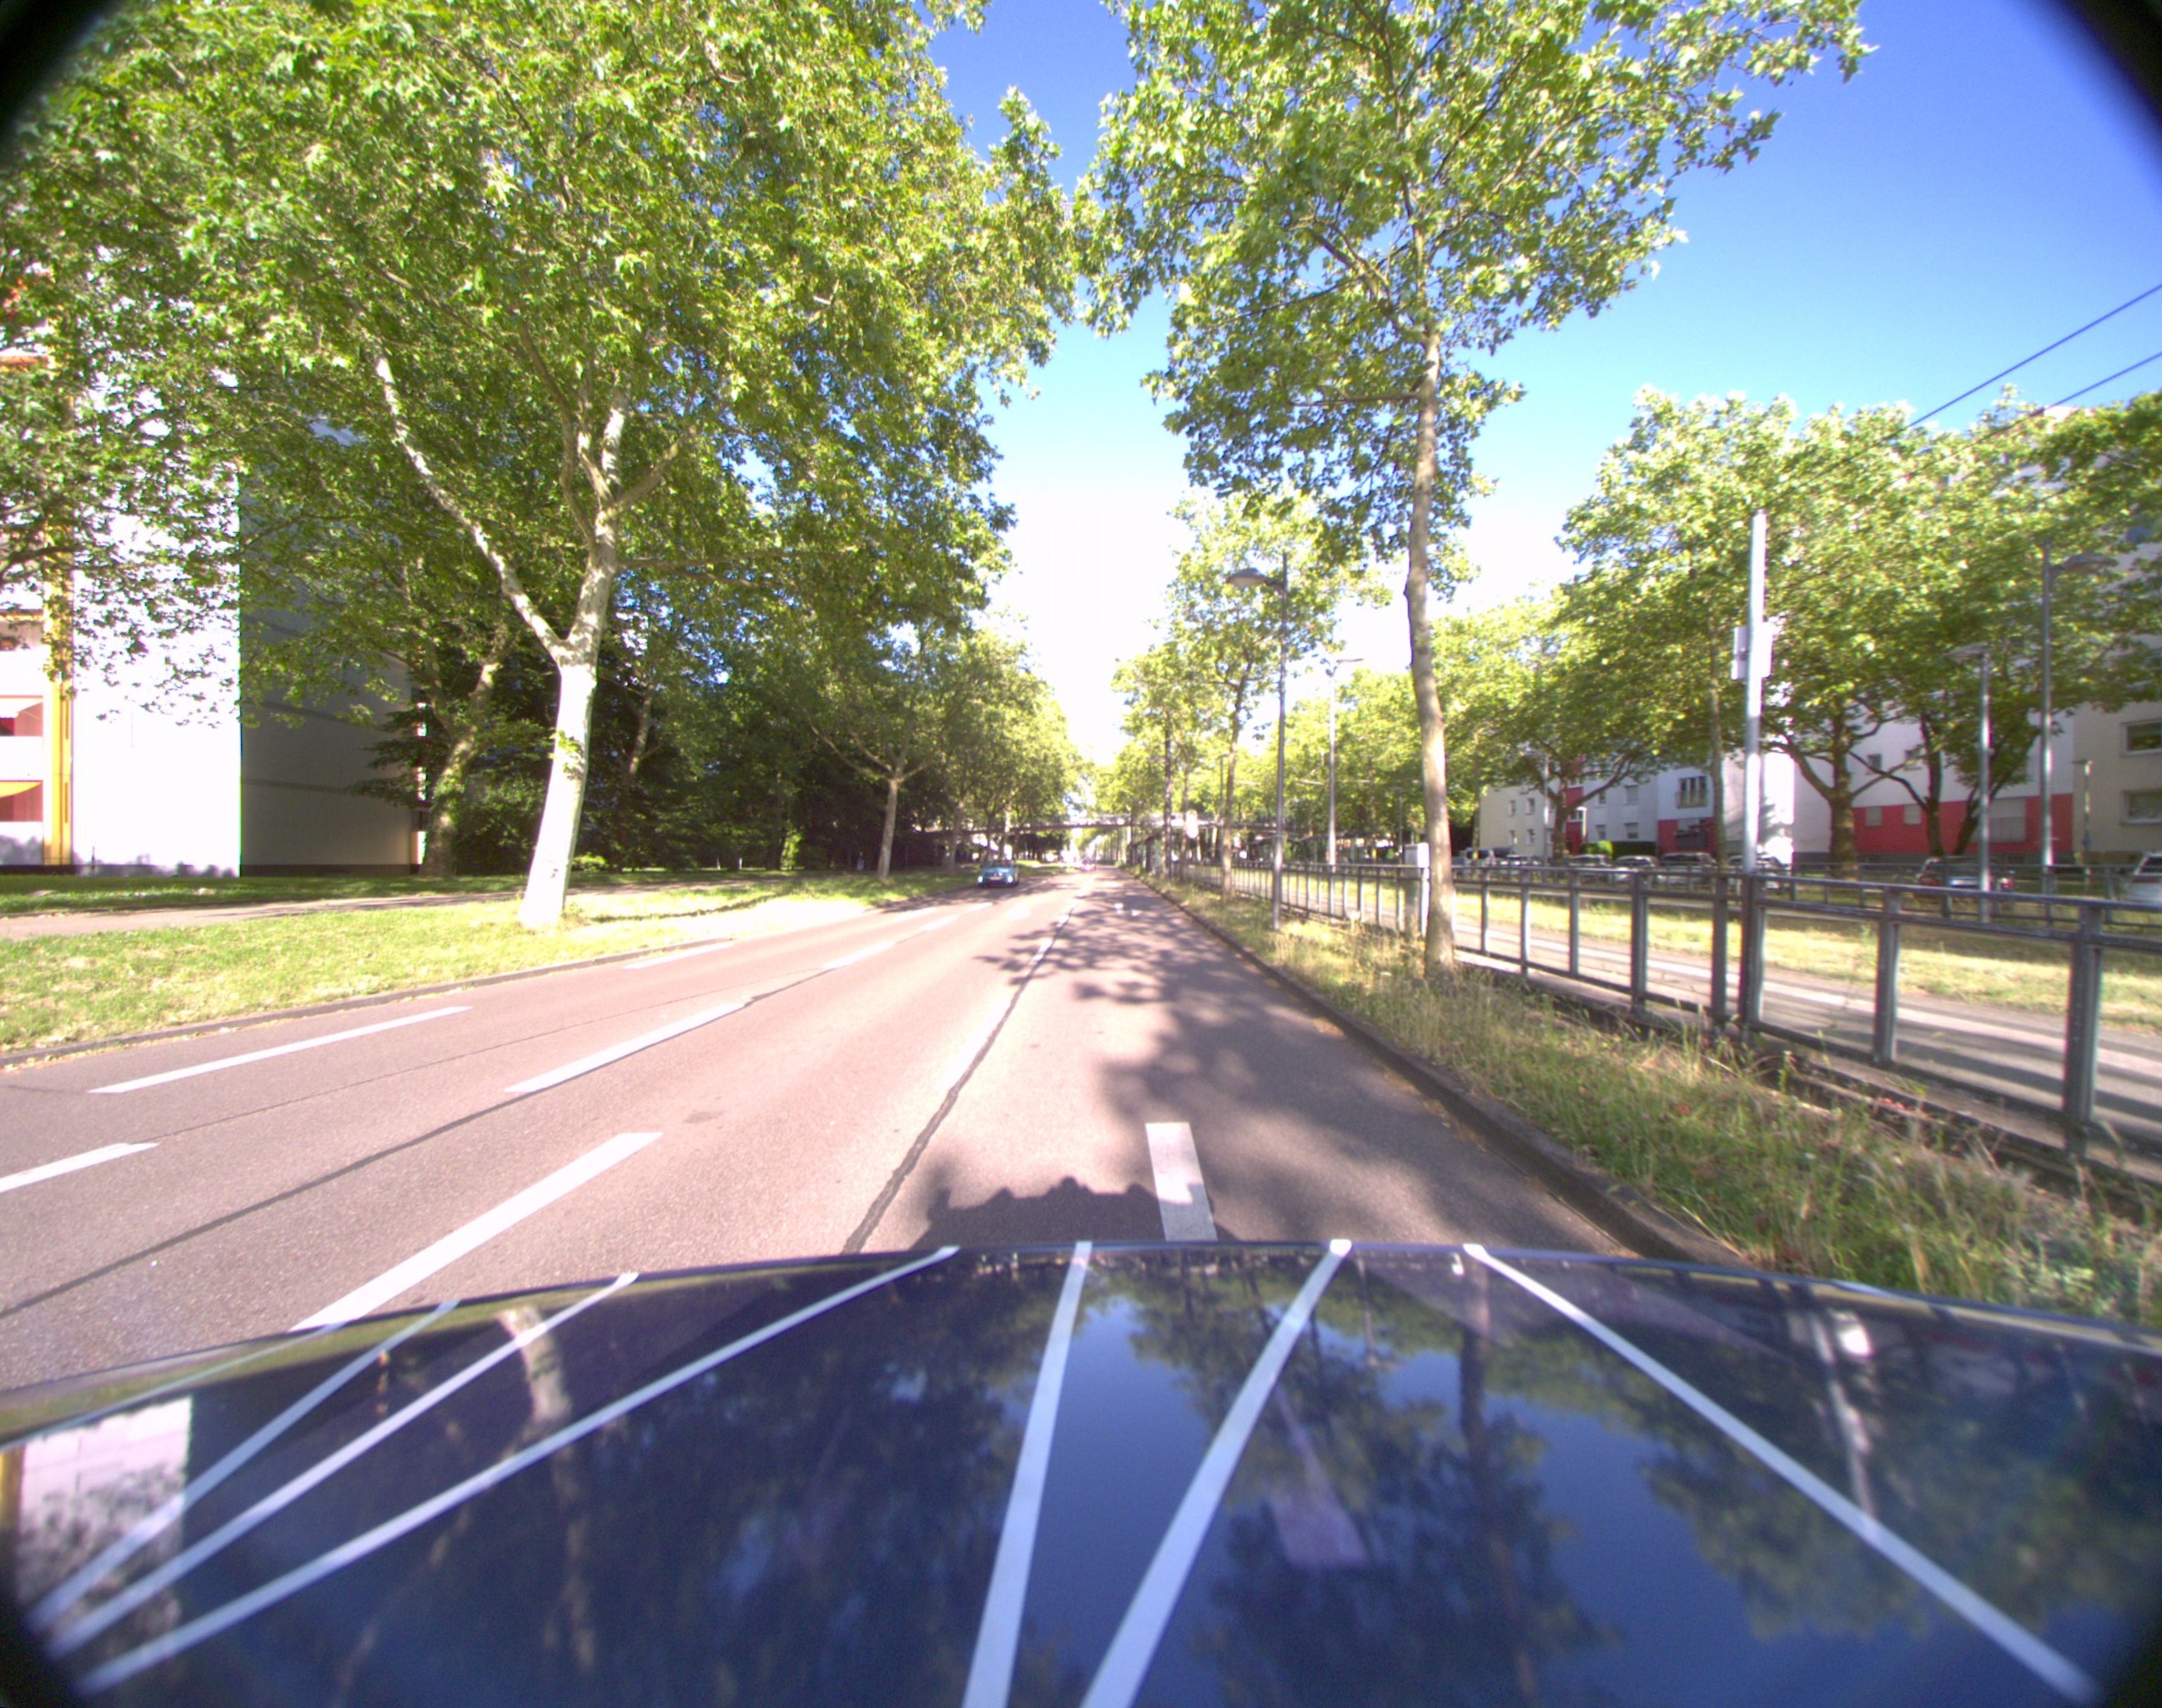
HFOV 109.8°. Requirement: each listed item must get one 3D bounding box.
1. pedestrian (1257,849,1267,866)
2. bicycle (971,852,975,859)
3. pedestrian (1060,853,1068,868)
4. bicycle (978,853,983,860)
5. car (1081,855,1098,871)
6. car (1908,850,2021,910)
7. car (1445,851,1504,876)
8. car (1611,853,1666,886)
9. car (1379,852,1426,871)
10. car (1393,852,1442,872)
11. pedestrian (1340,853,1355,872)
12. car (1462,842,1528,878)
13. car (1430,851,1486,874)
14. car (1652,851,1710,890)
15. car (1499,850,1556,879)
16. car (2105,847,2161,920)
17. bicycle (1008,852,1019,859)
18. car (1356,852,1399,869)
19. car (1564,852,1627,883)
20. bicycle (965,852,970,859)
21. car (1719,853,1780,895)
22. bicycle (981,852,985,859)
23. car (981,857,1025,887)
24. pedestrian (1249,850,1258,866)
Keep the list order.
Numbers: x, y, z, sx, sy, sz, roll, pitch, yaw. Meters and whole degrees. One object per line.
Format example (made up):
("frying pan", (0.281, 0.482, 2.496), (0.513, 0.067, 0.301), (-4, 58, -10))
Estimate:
("pedestrian", (17.560, 0.310, 73.703), (0.731, 1.625, 0.715), (1, 1, -1))
("bicycle", (-19.902, 0.240, 139.912), (0.577, 1.246, 1.806), (-2, 1, 0))
("pedestrian", (-2.035, 0.754, 91.640), (0.658, 1.766, 0.741), (-1, -1, 39))
("bicycle", (-18.120, 0.407, 137.080), (0.577, 1.246, 1.806), (-2, 1, 0))
("car", (0.964, 0.980, 85.559), (1.898, 1.602, 4.000), (-1, 1, 1))
("car", (24.945, 0.675, 21.578), (1.642, 1.535, 4.184), (-2, -1, 43))
("car", (26.534, 0.639, 51.191), (4.509, 1.489, 1.895), (-2, -1, -40))
("car", (26.215, 0.692, 35.659), (1.571, 1.424, 4.068), (-2, -1, 43))
("car", (26.913, 0.626, 63.484), (4.208, 1.420, 1.696), (-2, -1, -37))
("car", (26.869, 0.651, 60.694), (4.208, 1.420, 1.696), (-2, -1, -37))
("pedestrian", (16.549, 0.518, 47.216), (0.696, 1.121, 0.662), (3, 1, 3))
("car", (26.079, 0.360, 47.800), (4.508, 2.051, 1.895), (-2, -1, -37))
("car", (27.196, 0.591, 54.761), (4.509, 1.489, 1.895), (-2, -1, -40))
("car", (25.826, 0.679, 32.650), (1.571, 1.559, 4.068), (-2, -1, 43))
("car", (26.378, 0.602, 44.844), (4.068, 1.601, 1.685), (-1, -1, -42))
("car", (25.092, 0.627, 17.458), (4.001, 1.535, 1.642), (-1, -1, -40))
("bicycle", (-12.345, 0.250, 138.835), (2.073, 1.151, 0.561), (1, 1, -10))
("car", (27.388, 0.558, 70.172), (4.208, 1.420, 1.696), (-2, -1, -37))
("car", (26.170, 0.667, 38.579), (1.895, 1.495, 4.509), (-2, -1, 43))
("bicycle", (-19.269, 0.285, 129.324), (0.577, 1.246, 1.806), (-2, 1, 0))
("car", (25.332, 0.720, 28.739), (1.571, 1.465, 4.068), (-2, -1, 43))
("bicycle", (-18.330, 0.258, 141.991), (0.577, 1.246, 1.806), (-2, 1, 0))
("car", (-4.092, 0.942, 40.447), (1.780, 1.474, 4.101), (-2, 0, 2))
("pedestrian", (16.800, 0.378, 73.974), (0.644, 1.505, 0.683), (1, 1, -11))
